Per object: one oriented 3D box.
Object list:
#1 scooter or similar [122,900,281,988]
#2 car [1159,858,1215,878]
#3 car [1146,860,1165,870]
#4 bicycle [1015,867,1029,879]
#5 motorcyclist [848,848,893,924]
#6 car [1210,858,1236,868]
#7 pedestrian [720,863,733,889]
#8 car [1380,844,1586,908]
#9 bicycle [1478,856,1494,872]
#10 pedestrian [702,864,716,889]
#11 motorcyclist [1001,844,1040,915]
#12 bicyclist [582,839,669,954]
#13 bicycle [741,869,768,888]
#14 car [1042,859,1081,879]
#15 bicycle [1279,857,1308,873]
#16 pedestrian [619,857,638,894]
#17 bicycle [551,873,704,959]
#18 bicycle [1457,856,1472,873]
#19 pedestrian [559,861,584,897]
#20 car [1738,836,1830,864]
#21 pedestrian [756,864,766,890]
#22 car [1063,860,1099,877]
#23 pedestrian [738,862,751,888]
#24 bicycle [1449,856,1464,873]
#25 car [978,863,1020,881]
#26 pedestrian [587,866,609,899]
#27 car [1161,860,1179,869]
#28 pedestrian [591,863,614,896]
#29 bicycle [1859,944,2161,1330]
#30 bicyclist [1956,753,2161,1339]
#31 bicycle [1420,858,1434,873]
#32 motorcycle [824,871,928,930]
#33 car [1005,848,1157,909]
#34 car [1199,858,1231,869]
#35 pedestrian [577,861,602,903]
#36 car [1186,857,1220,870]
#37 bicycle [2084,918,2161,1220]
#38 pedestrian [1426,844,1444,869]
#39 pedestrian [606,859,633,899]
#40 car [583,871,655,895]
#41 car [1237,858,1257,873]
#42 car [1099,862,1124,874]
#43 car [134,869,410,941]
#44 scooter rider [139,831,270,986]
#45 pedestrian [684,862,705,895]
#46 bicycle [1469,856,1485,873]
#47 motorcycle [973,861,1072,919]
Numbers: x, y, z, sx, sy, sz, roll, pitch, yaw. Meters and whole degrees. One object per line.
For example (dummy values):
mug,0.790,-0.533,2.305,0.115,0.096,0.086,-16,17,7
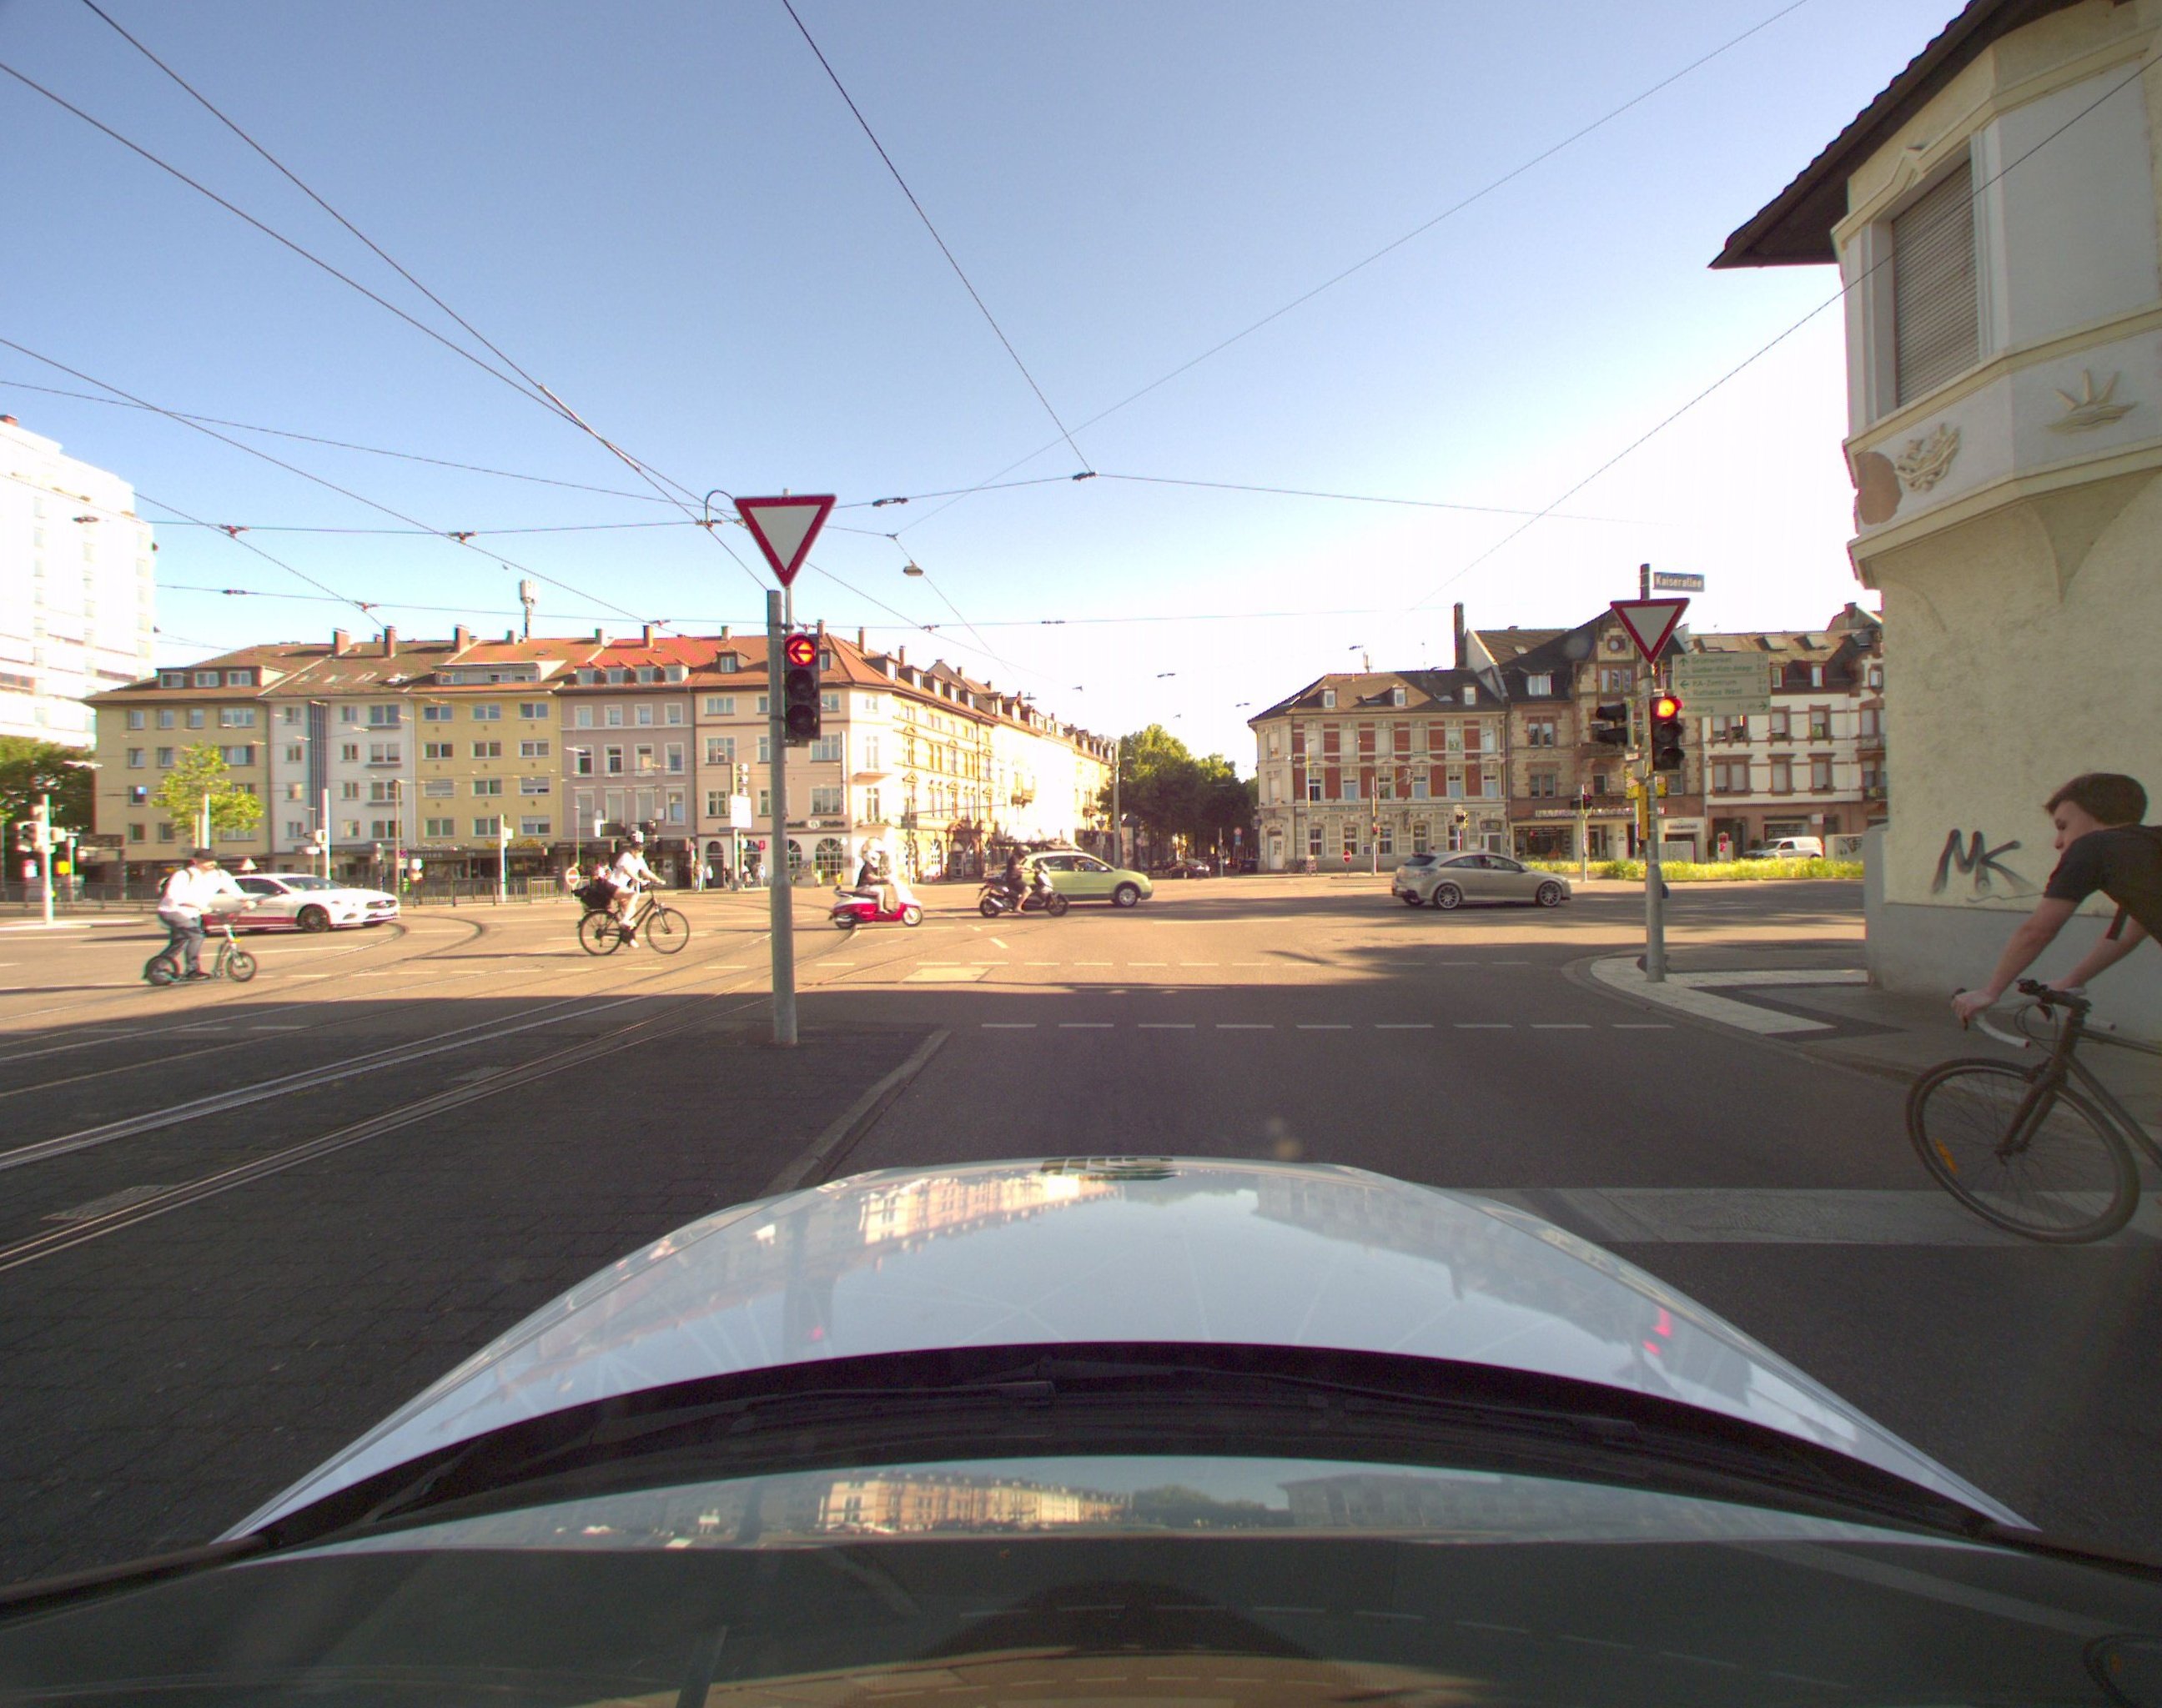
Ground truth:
scooter or similar,-11.355,1.147,10.538,1.426,1.043,0.565,-1,0,1
car,7.261,0.960,56.170,1.728,1.300,4.034,-1,0,-30
car,11.204,1.689,122.506,1.977,1.404,4.189,-1,0,18
bicycle,-4.755,1.531,65.573,0.650,1.000,1.671,-1,-1,14
motorcyclist,-4.300,0.641,16.700,0.814,1.507,0.657,-1,0,-10
car,19.385,1.213,111.195,3.409,1.239,1.582,-1,0,13
pedestrian,-23.067,1.410,52.934,0.744,1.682,0.623,-1,0,-23
car,9.793,0.515,20.016,4.262,1.441,1.738,-1,-1,-6
bicycle,26.341,0.664,52.924,0.483,1.020,1.789,-1,0,12
pedestrian,-26.201,1.589,57.370,0.740,1.682,0.626,-1,0,-10
motorcyclist,-1.421,0.577,18.899,0.832,1.620,0.814,0,-1,-10
bicyclist,-7.076,0.642,12.685,0.937,1.713,0.732,-1,0,-6
bicycle,-23.073,1.759,57.508,1.714,1.276,0.385,-1,0,-16
car,-1.583,1.217,67.673,1.977,1.516,4.189,-1,0,18
bicycle,14.920,0.748,57.145,1.940,1.054,0.717,-1,0,11
pedestrian,-21.974,1.043,39.568,0.558,1.786,0.560,-1,0,1
bicycle,-7.022,0.938,12.693,1.920,1.223,0.741,-1,0,-6
bicycle,24.825,0.673,52.720,0.483,1.020,1.789,-1,0,12
pedestrian,-23.518,1.141,37.617,0.738,1.635,0.572,-1,0,1
car,45.299,-0.249,52.551,4.239,1.622,1.999,-1,0,-1
pedestrian,-15.793,1.134,40.213,0.364,1.253,0.449,-1,0,-10
car,0.038,1.311,73.811,1.977,1.404,4.189,-1,0,18
pedestrian,-21.818,1.343,52.771,0.744,1.682,0.623,-1,0,-23
bicycle,24.322,0.678,52.812,0.483,1.020,1.789,-1,0,12
car,-6.752,1.477,67.367,1.977,1.361,3.836,-1,0,18
pedestrian,-23.544,1.376,39.706,0.697,1.581,0.559,-1,0,-4
car,14.334,1.709,131.265,1.977,1.404,4.189,-1,0,18
pedestrian,-24.897,1.307,42.382,0.764,1.682,0.628,-1,0,1
bicycle,3.570,0.917,2.507,0.568,1.058,1.890,-1,0,2
bicyclist,3.569,0.574,2.505,0.649,1.767,0.995,-1,0,2
bicycle,22.490,0.729,52.983,0.483,0.914,1.789,-1,0,12
motorcycle,-4.188,0.945,16.741,2.025,1.118,0.503,-1,0,-10
car,-0.049,0.633,22.147,3.949,1.498,1.738,-1,0,-6
car,17.341,1.225,105.166,3.959,1.288,1.700,-1,0,13
pedestrian,-22.429,1.260,37.170,0.625,1.850,0.778,-1,0,1
car,14.968,1.155,99.512,3.959,1.454,1.687,-1,0,13
bicycle,4.514,0.856,2.493,0.568,1.165,1.890,-1,0,2
pedestrian,24.572,0.154,56.537,1.029,1.712,0.631,-1,-1,10
pedestrian,-21.520,1.179,37.984,0.764,1.829,0.723,-1,0,1
car,-30.338,1.901,53.537,3.711,1.491,1.820,0,-1,4
car,16.806,1.130,82.298,1.742,1.420,4.016,-1,0,14
car,3.837,1.712,102.180,1.977,1.404,4.189,-1,0,18
car,-19.502,1.194,19.826,4.663,1.473,1.738,-2,0,-5
scooter rider,-11.325,0.683,10.550,0.792,1.912,0.797,-1,0,1
pedestrian,-20.027,1.272,42.173,0.738,1.682,0.628,-1,0,1
bicycle,25.636,0.668,52.769,0.483,1.020,1.789,-1,0,12
motorcycle,-1.352,0.813,18.790,2.205,1.228,0.692,-1,0,-10
